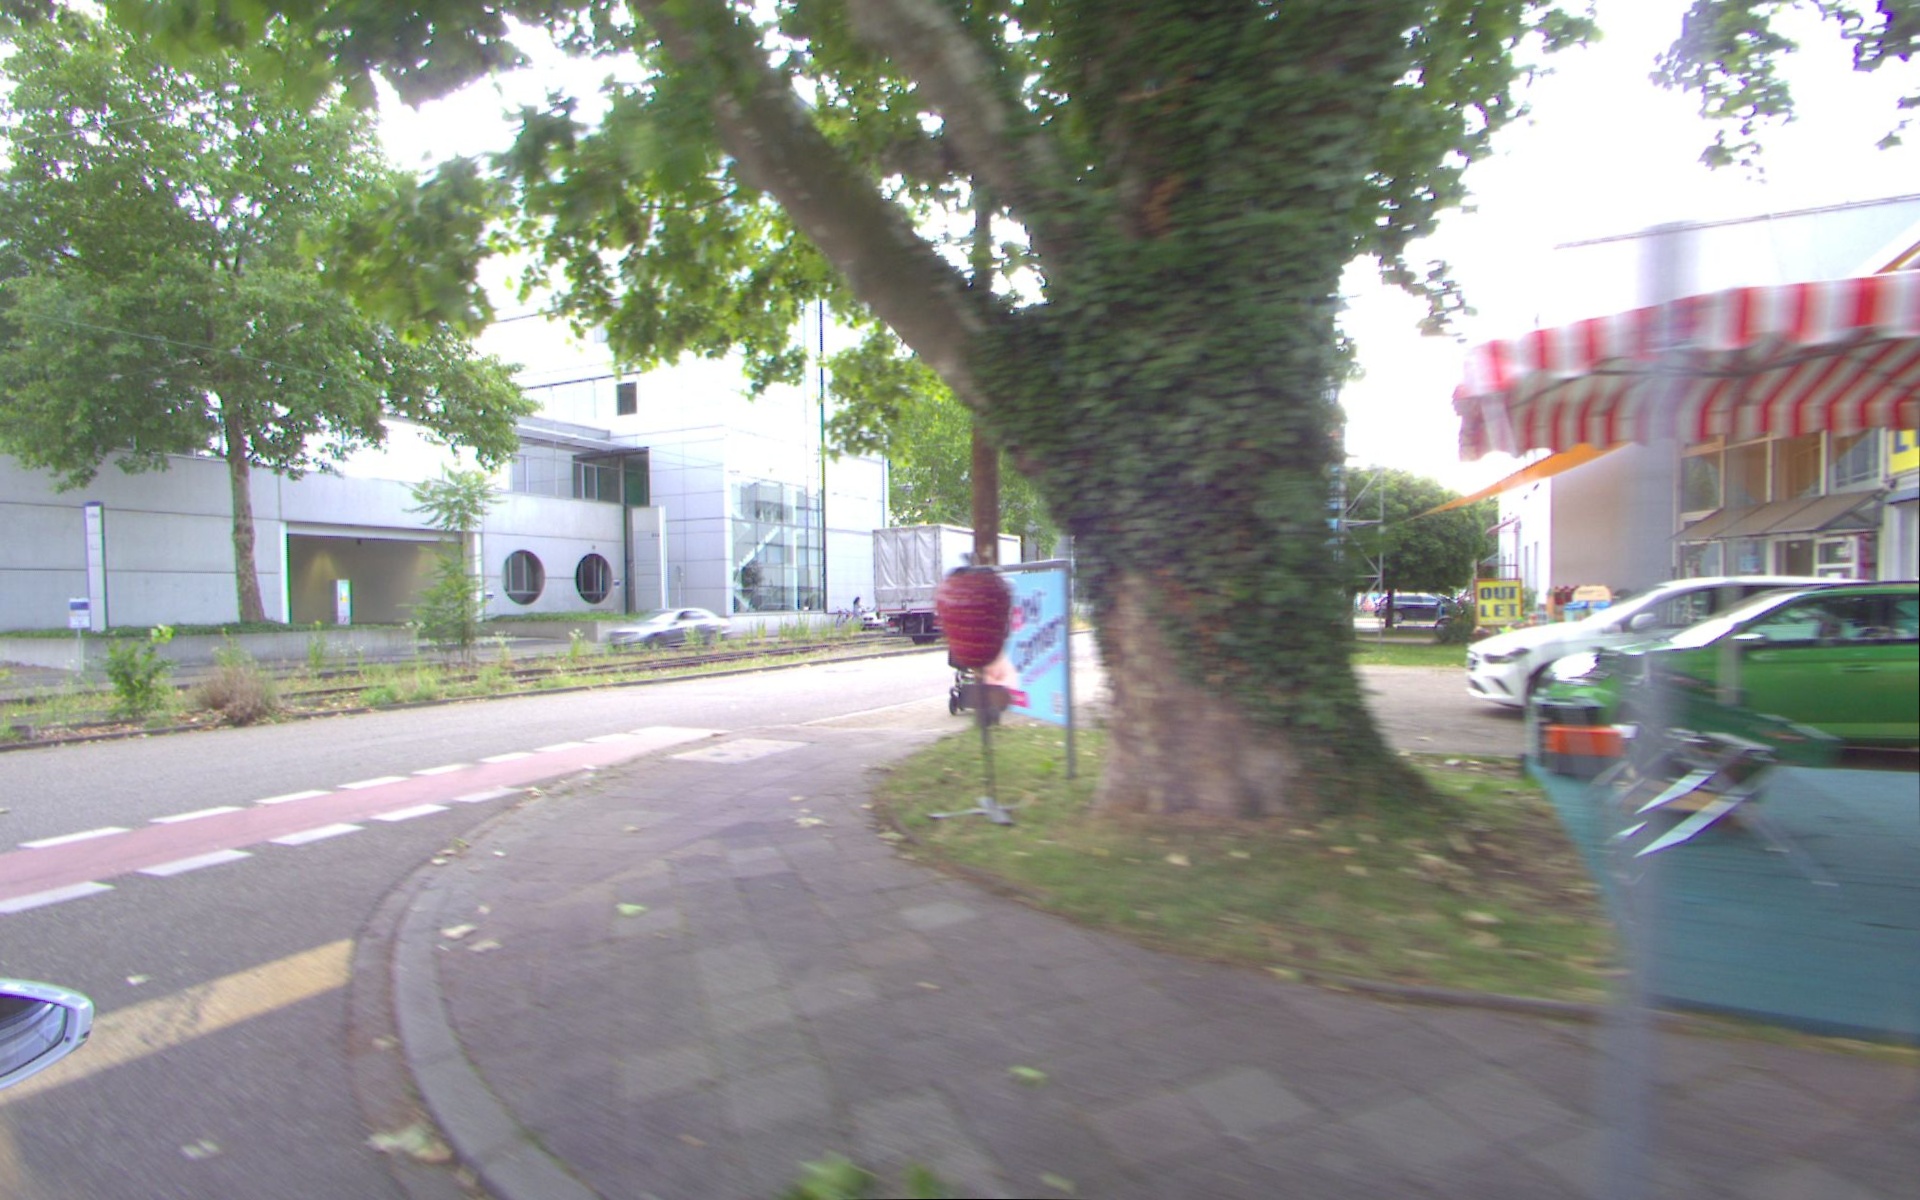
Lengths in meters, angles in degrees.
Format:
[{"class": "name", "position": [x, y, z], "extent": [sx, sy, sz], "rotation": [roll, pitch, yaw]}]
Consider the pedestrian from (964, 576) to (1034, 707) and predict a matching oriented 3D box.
[{"class": "pedestrian", "position": [0.549, 0.559, 13.830], "extent": [0.707, 1.736, 0.963], "rotation": [0, 1, 19]}]

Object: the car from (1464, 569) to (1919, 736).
[{"class": "car", "position": [7.790, 0.503, 10.936], "extent": [3.931, 1.589, 1.740], "rotation": [0, 0, 22]}]

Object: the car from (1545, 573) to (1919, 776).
[{"class": "car", "position": [7.309, 0.564, 8.526], "extent": [3.938, 1.532, 1.738], "rotation": [0, 0, 28]}]

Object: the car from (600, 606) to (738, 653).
[{"class": "car", "position": [-9.973, 0.969, 34.793], "extent": [1.744, 1.450, 4.952], "rotation": [-1, 0, 26]}]

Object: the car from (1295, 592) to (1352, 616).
[{"class": "car", "position": [27.074, 0.311, 74.541], "extent": [3.838, 1.708, 1.663], "rotation": [-1, 1, 27]}]

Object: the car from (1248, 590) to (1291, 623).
[{"class": "car", "position": [16.704, 0.323, 53.959], "extent": [1.643, 1.708, 3.885], "rotation": [-1, 0, 26]}]

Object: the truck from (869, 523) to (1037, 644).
[{"class": "truck", "position": [0.060, -0.549, 37.578], "extent": [2.753, 3.948, 9.516], "rotation": [-1, 0, 23]}]

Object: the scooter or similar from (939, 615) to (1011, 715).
[{"class": "scooter or similar", "position": [0.209, 0.815, 12.899], "extent": [0.636, 1.215, 1.025], "rotation": [0, 0, 19]}]

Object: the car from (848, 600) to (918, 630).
[{"class": "car", "position": [-4.044, 0.788, 53.178], "extent": [1.913, 1.471, 4.057], "rotation": [-1, 0, 26]}]

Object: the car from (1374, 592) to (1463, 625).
[{"class": "car", "position": [22.146, 0.423, 48.503], "extent": [3.835, 1.508, 1.664], "rotation": [-1, 1, 24]}]

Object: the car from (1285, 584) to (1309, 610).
[{"class": "car", "position": [33.410, -0.304, 99.263], "extent": [1.643, 2.432, 4.599], "rotation": [0, 0, 26]}]
